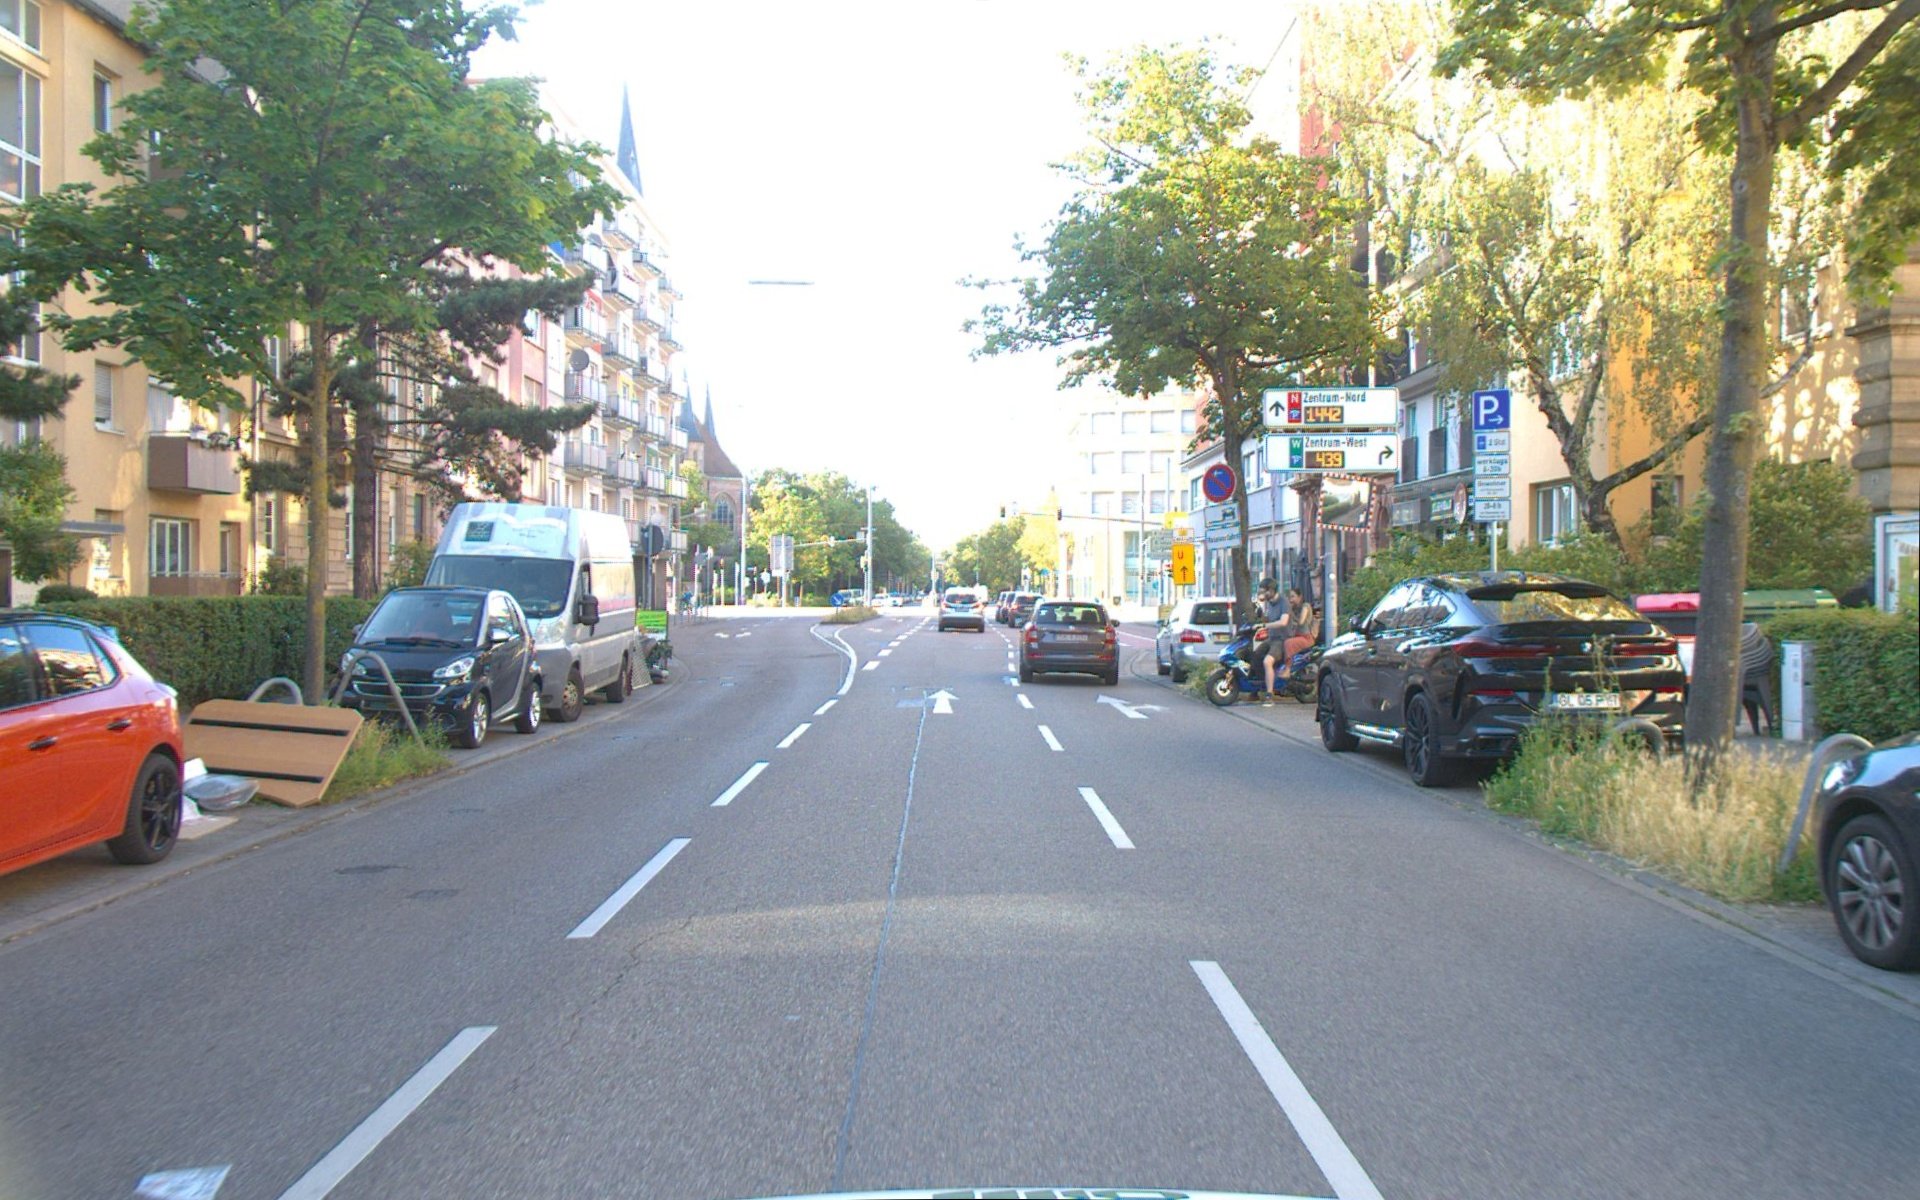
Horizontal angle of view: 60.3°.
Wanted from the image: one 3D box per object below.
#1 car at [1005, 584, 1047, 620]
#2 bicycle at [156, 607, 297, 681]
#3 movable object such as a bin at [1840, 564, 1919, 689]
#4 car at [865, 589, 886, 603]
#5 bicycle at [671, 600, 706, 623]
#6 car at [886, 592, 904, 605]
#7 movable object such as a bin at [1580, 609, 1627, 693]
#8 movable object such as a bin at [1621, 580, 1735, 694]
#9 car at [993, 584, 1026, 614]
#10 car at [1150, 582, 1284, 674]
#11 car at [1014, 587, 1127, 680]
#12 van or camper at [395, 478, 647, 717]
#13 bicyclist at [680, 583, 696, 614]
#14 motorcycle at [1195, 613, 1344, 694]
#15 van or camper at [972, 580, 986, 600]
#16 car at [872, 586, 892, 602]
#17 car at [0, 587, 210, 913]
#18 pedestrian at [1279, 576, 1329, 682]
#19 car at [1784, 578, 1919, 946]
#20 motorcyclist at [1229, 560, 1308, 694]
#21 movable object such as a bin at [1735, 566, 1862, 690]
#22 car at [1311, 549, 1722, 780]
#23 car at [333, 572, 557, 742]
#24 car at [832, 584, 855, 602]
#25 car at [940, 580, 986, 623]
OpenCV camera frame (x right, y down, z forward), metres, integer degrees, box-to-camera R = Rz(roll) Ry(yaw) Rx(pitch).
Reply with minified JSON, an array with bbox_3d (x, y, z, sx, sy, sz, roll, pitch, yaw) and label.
[{"bbox_3d":[2.867,0.073,72.409,1.617,1.510,4.239,1,1,0],"label":"car"},{"bbox_3d":[-10.442,0.625,23.570,1.722,0.998,0.590,1,0,0],"label":"bicycle"},{"bbox_3d":[12.367,0.330,21.655,1.134,1.583,0.992,0,0,-10],"label":"movable object such as a bin"},{"bbox_3d":[-7.724,-0.403,151.621,1.743,1.257,4.000,0,1,0],"label":"car"},{"bbox_3d":[-15.254,0.628,92.885,1.790,1.209,0.734,2,0,-2],"label":"bicycle"},{"bbox_3d":[-6.879,-0.157,175.884,1.743,1.257,4.000,0,1,0],"label":"car"},{"bbox_3d":[8.436,0.664,21.700,0.483,1.077,0.548,0,0,12],"label":"movable object such as a bin"},{"bbox_3d":[9.443,0.471,21.808,1.226,1.467,0.995,0,0,14],"label":"movable object such as a bin"},{"bbox_3d":[2.548,-0.082,85.262,1.552,1.472,3.647,1,1,0],"label":"car"},{"bbox_3d":[4.692,0.461,30.829,1.817,1.539,4.835,-1,1,1],"label":"car"},{"bbox_3d":[1.893,0.540,29.319,1.672,1.482,4.158,1,1,0],"label":"car"},{"bbox_3d":[-5.657,-0.047,22.204,1.995,2.710,6.012,2,0,-3],"label":"van or camper"},{"bbox_3d":[-15.391,-0.086,93.638,0.766,1.689,0.900,1,0,0],"label":"bicyclist"},{"bbox_3d":[4.332,0.732,23.176,1.892,1.089,0.818,0,0,-13],"label":"motorcycle"},{"bbox_3d":[2.637,-1.416,231.150,1.952,2.686,5.351,0,1,1],"label":"van or camper"},{"bbox_3d":[-7.471,-0.588,158.196,1.743,1.490,4.000,0,1,0],"label":"car"},{"bbox_3d":[-5.299,0.699,7.882,1.682,1.477,3.923,1,1,-1],"label":"car"},{"bbox_3d":[4.790,0.392,23.041,0.430,1.455,0.702,0,0,-12],"label":"pedestrian"},{"bbox_3d":[4.804,0.665,5.587,1.682,1.498,4.430,-1,1,-3],"label":"car"},{"bbox_3d":[4.268,0.364,22.928,0.723,1.809,1.085,0,0,-12],"label":"motorcyclist"},{"bbox_3d":[11.050,0.350,21.812,1.134,1.583,0.992,0,0,-10],"label":"movable object such as a bin"},{"bbox_3d":[4.593,0.449,14.531,1.908,1.684,4.795,0,1,-1],"label":"car"},{"bbox_3d":[-5.254,0.532,17.156,1.375,1.575,2.762,2,1,1],"label":"car"},{"bbox_3d":[-10.695,-0.664,152.147,1.743,1.676,4.000,0,1,0],"label":"car"},{"bbox_3d":[0.098,0.025,62.909,1.672,1.536,4.309,1,1,0],"label":"car"}]
